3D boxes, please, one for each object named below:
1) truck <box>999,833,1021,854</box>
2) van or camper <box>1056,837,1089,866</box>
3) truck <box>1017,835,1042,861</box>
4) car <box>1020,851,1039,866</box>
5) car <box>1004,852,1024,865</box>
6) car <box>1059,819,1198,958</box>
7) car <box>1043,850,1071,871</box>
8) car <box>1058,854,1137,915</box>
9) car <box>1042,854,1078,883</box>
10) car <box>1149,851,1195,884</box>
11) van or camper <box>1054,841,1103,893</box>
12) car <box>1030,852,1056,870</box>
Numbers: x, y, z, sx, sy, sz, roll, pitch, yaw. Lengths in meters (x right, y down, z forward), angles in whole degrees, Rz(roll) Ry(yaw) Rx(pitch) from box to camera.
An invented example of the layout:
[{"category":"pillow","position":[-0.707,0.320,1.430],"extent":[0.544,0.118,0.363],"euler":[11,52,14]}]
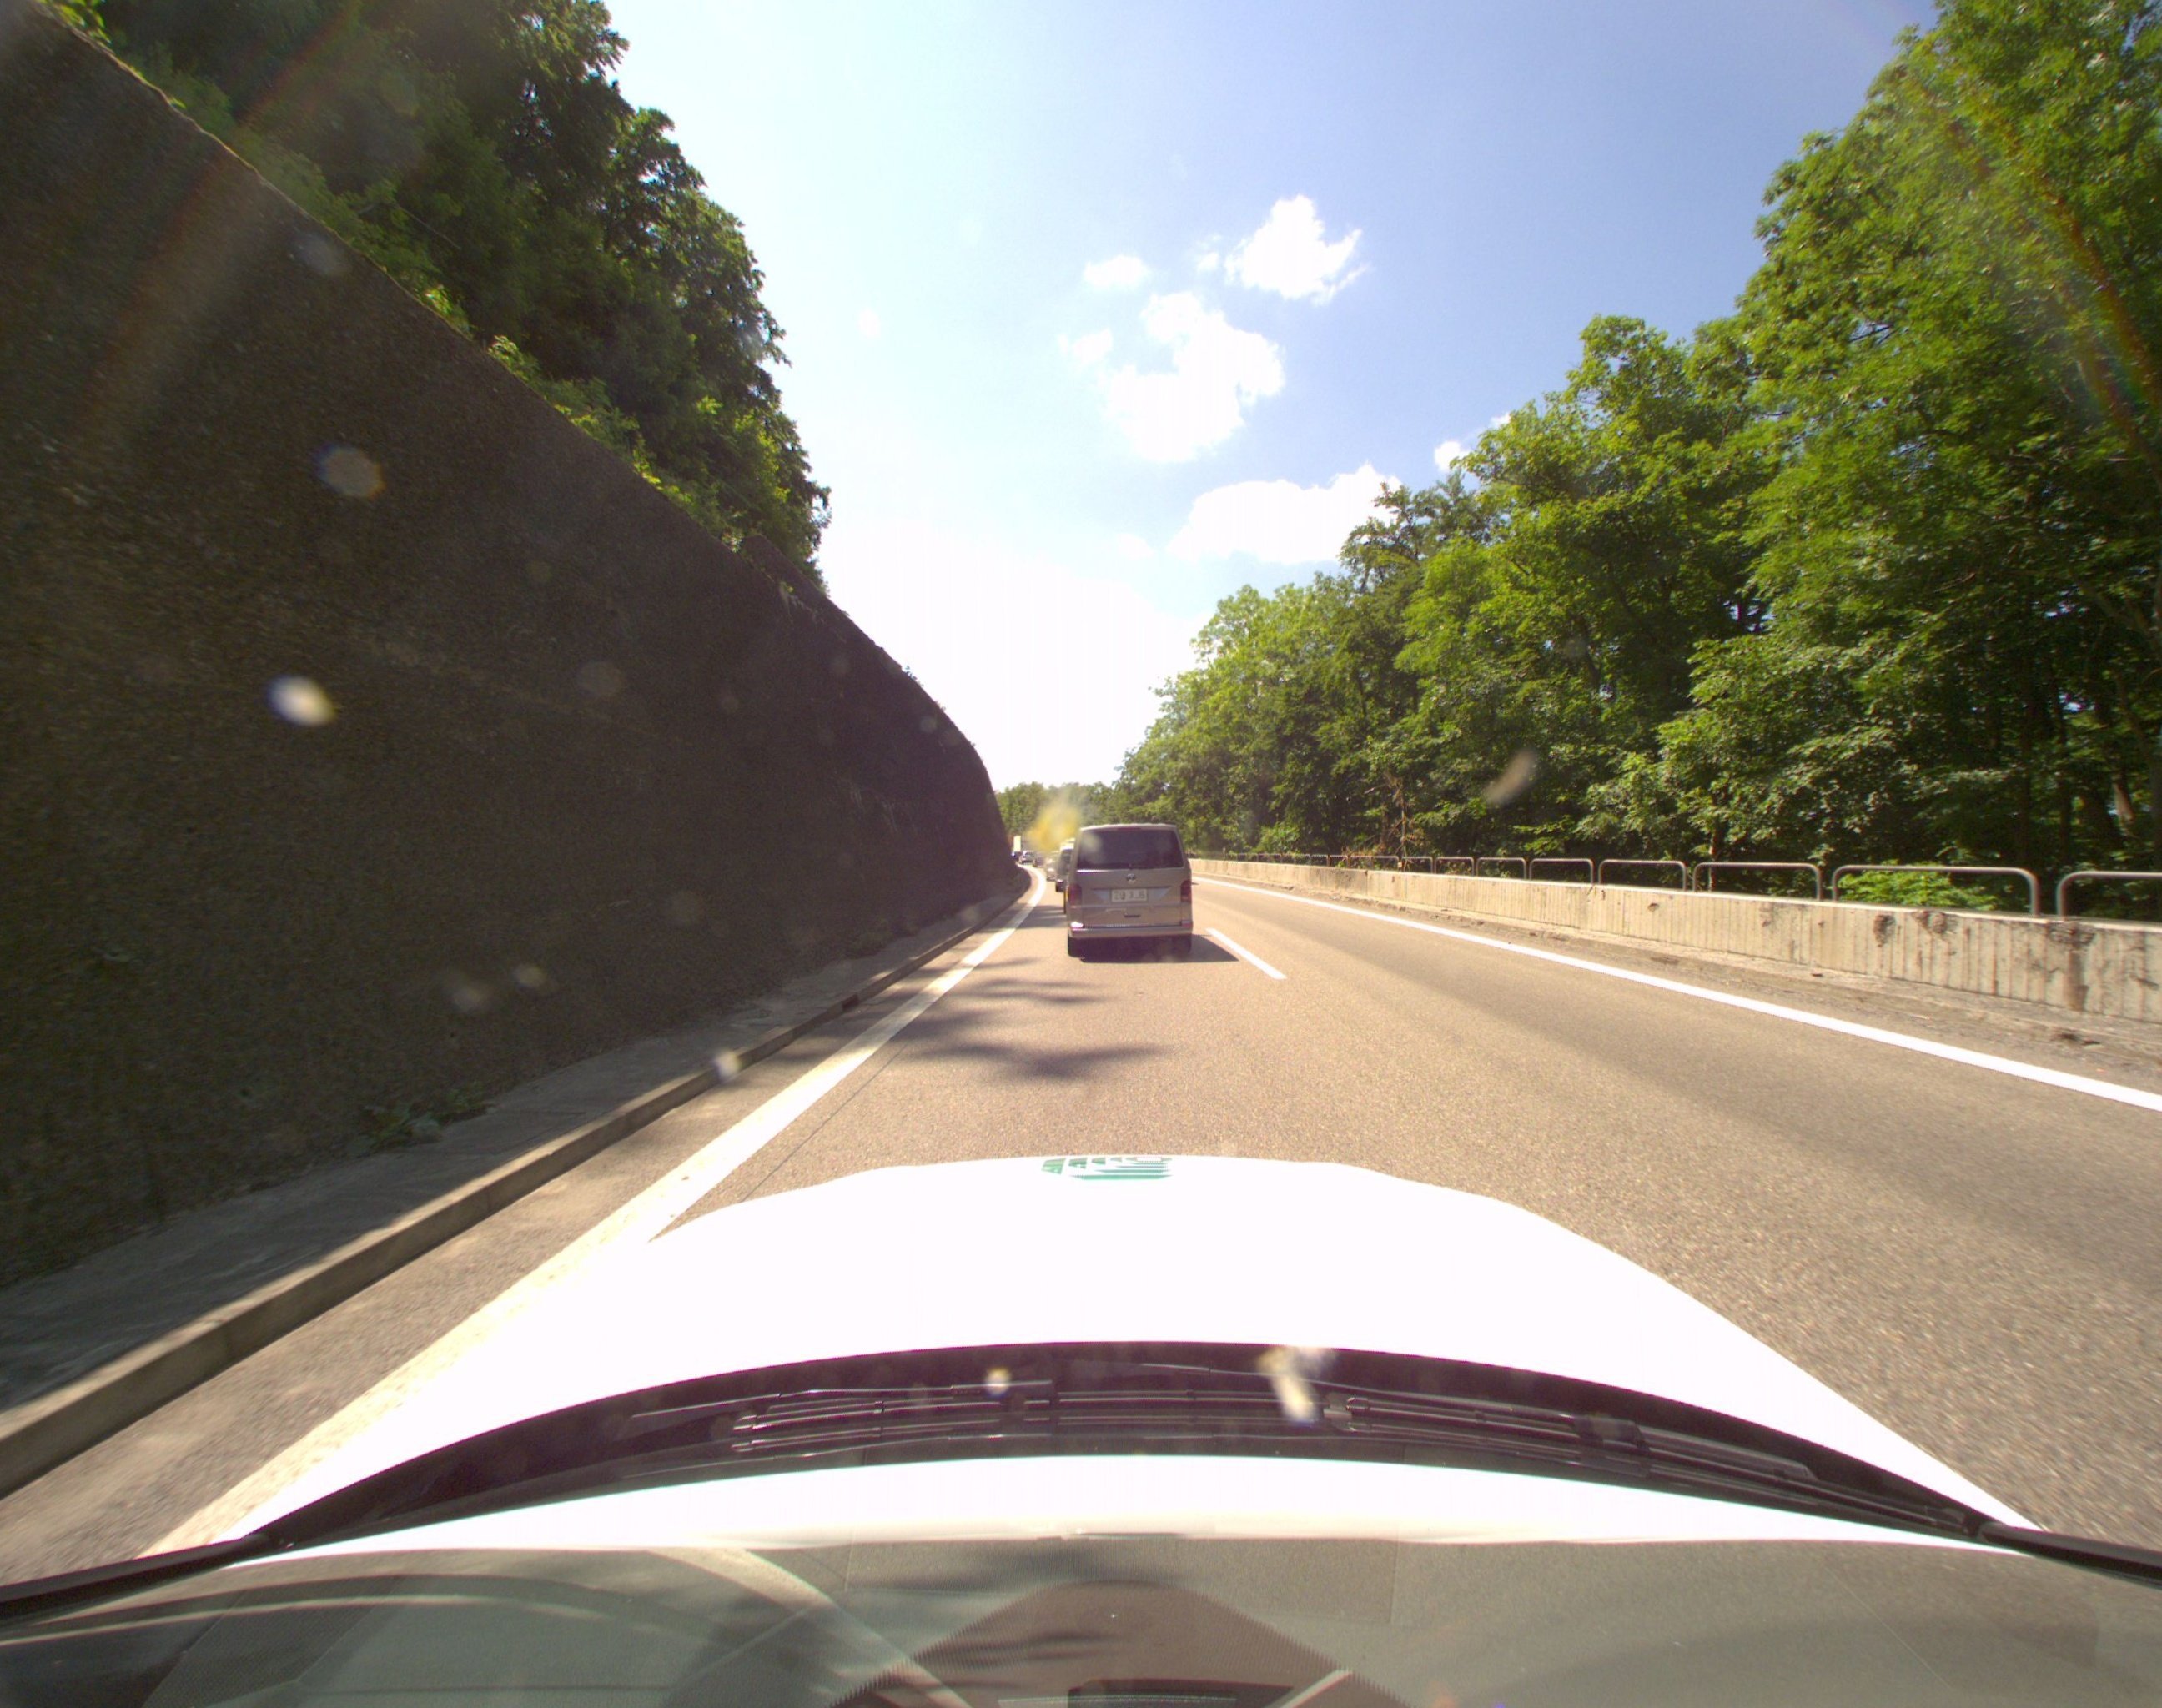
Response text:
[{"category":"truck","position":[-12.954,-1.844,147.849],"extent":[3.163,3.468,8.195],"euler":[3,0,-9]},{"category":"van or camper","position":[-0.970,-0.268,86.213],"extent":[2.602,2.855,6.319],"euler":[3,0,-8]},{"category":"truck","position":[-7.947,-0.902,124.352],"extent":[2.925,3.687,7.698],"euler":[-1,0,-10]},{"category":"car","position":[-5.660,0.499,89.931],"extent":[1.989,1.618,3.996],"euler":[0,0,-3]},{"category":"car","position":[-8.360,0.502,101.398],"extent":[1.754,1.571,3.752],"euler":[0,0,-15]},{"category":"car","position":[0.687,0.481,13.802],"extent":[1.934,1.931,4.694],"euler":[-1,0,0]},{"category":"car","position":[-1.825,0.451,61.572],"extent":[1.860,1.486,3.992],"euler":[-1,0,-5]},{"category":"car","position":[0.352,0.742,22.169],"extent":[1.900,1.489,4.375],"euler":[0,0,-2]},{"category":"car","position":[-1.117,0.772,44.879],"extent":[1.765,1.472,4.002],"euler":[0,0,2]},{"category":"car","position":[4.143,0.577,37.752],"extent":[1.680,1.458,3.999],"euler":[0,0,0]},{"category":"van or camper","position":[-0.176,0.488,33.455],"extent":[1.849,1.942,4.162],"euler":[-1,0,-2]},{"category":"car","position":[-3.518,0.605,74.907],"extent":[1.858,1.619,3.987],"euler":[0,0,-10]}]
